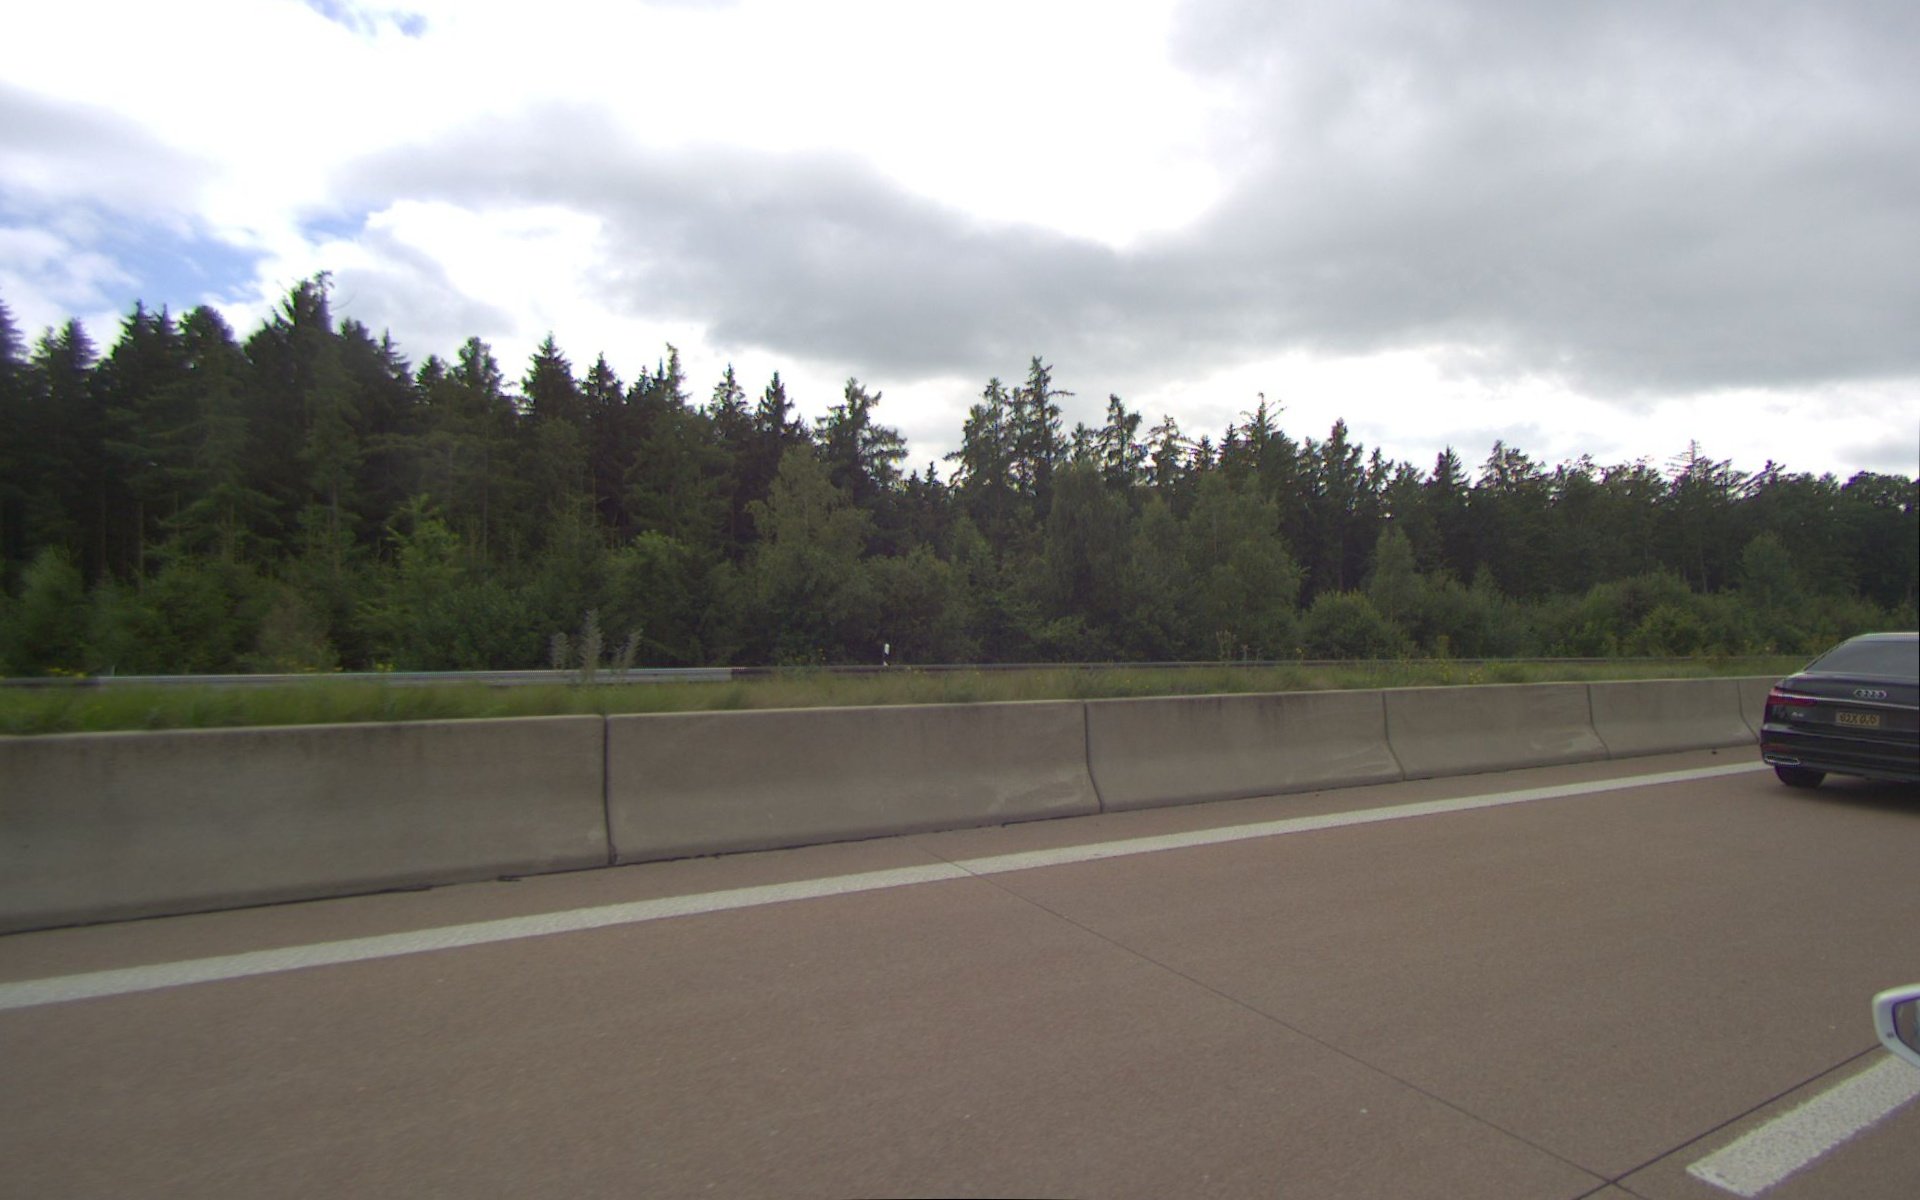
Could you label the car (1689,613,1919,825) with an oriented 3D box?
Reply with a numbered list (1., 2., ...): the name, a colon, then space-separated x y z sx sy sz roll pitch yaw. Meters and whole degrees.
1. car: 9.520 0.963 9.443 5.603 1.571 2.077 1 0 -28
